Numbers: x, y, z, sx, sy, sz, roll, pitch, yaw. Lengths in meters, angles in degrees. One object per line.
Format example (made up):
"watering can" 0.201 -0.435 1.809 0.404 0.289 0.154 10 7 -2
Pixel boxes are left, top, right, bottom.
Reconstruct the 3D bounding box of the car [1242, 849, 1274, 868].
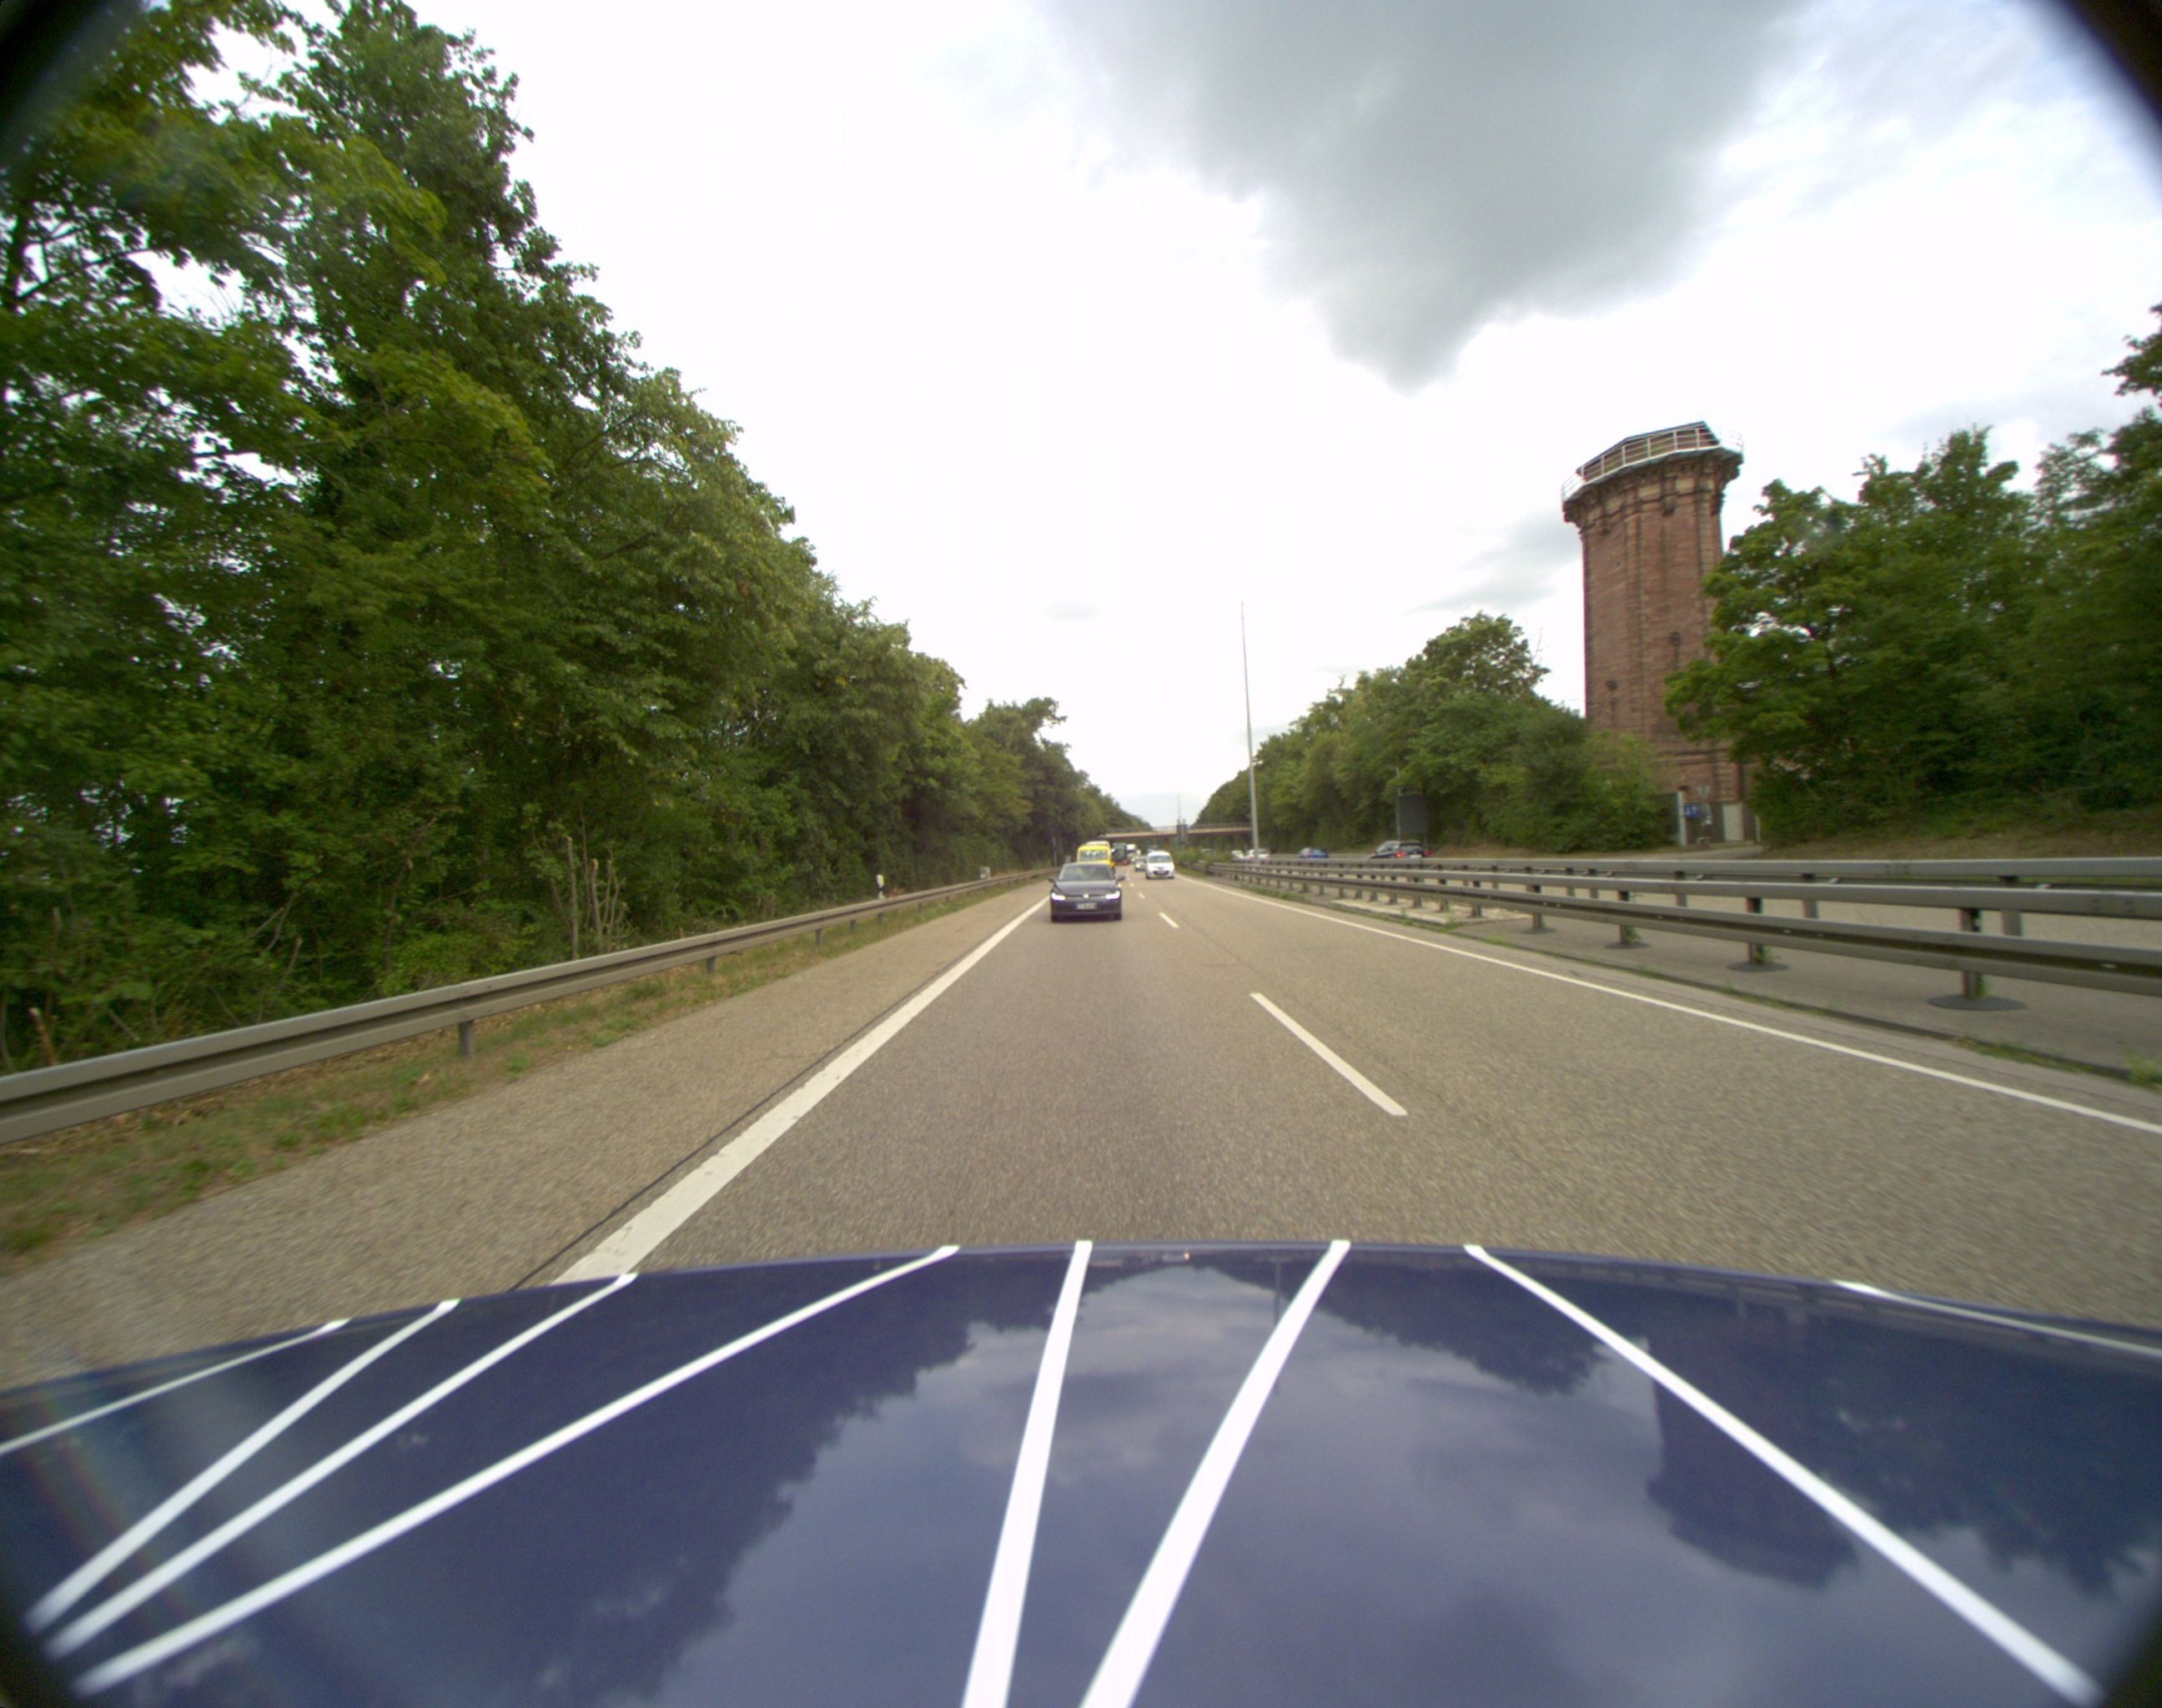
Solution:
"car" 14.140 0.334 60.886 1.716 1.418 4.057 -2 0 1

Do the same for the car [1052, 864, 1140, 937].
"car" 0.238 1.003 18.233 1.801 1.398 4.638 -2 1 -2

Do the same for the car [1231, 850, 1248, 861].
"car" 21.087 0.185 101.186 1.632 1.499 3.728 -2 0 3

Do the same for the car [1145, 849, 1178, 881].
"car" 5.354 0.688 51.165 1.821 1.993 4.423 -2 0 2

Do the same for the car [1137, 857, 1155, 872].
"car" 6.598 1.042 77.204 1.772 1.416 4.199 -2 0 5

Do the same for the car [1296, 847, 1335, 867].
"car" 17.788 0.222 57.822 1.816 1.441 4.057 -2 0 1

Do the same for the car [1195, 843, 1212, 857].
"car" 16.385 -0.574 101.861 1.765 1.759 4.542 -2 0 3

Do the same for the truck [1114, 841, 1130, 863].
"truck" 7.075 -0.398 130.468 2.547 3.564 6.459 -2 1 5

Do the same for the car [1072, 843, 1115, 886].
"car" 0.787 0.562 44.160 2.247 2.334 5.225 -2 0 3

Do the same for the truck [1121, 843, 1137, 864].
"truck" 10.821 -0.248 170.492 3.098 4.462 12.213 -2 0 5

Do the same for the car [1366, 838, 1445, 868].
"car" 15.196 -0.045 35.817 1.983 1.292 4.068 -2 0 0

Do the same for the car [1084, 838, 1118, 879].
"car" 1.523 0.314 54.810 2.207 2.732 6.168 -2 0 3
